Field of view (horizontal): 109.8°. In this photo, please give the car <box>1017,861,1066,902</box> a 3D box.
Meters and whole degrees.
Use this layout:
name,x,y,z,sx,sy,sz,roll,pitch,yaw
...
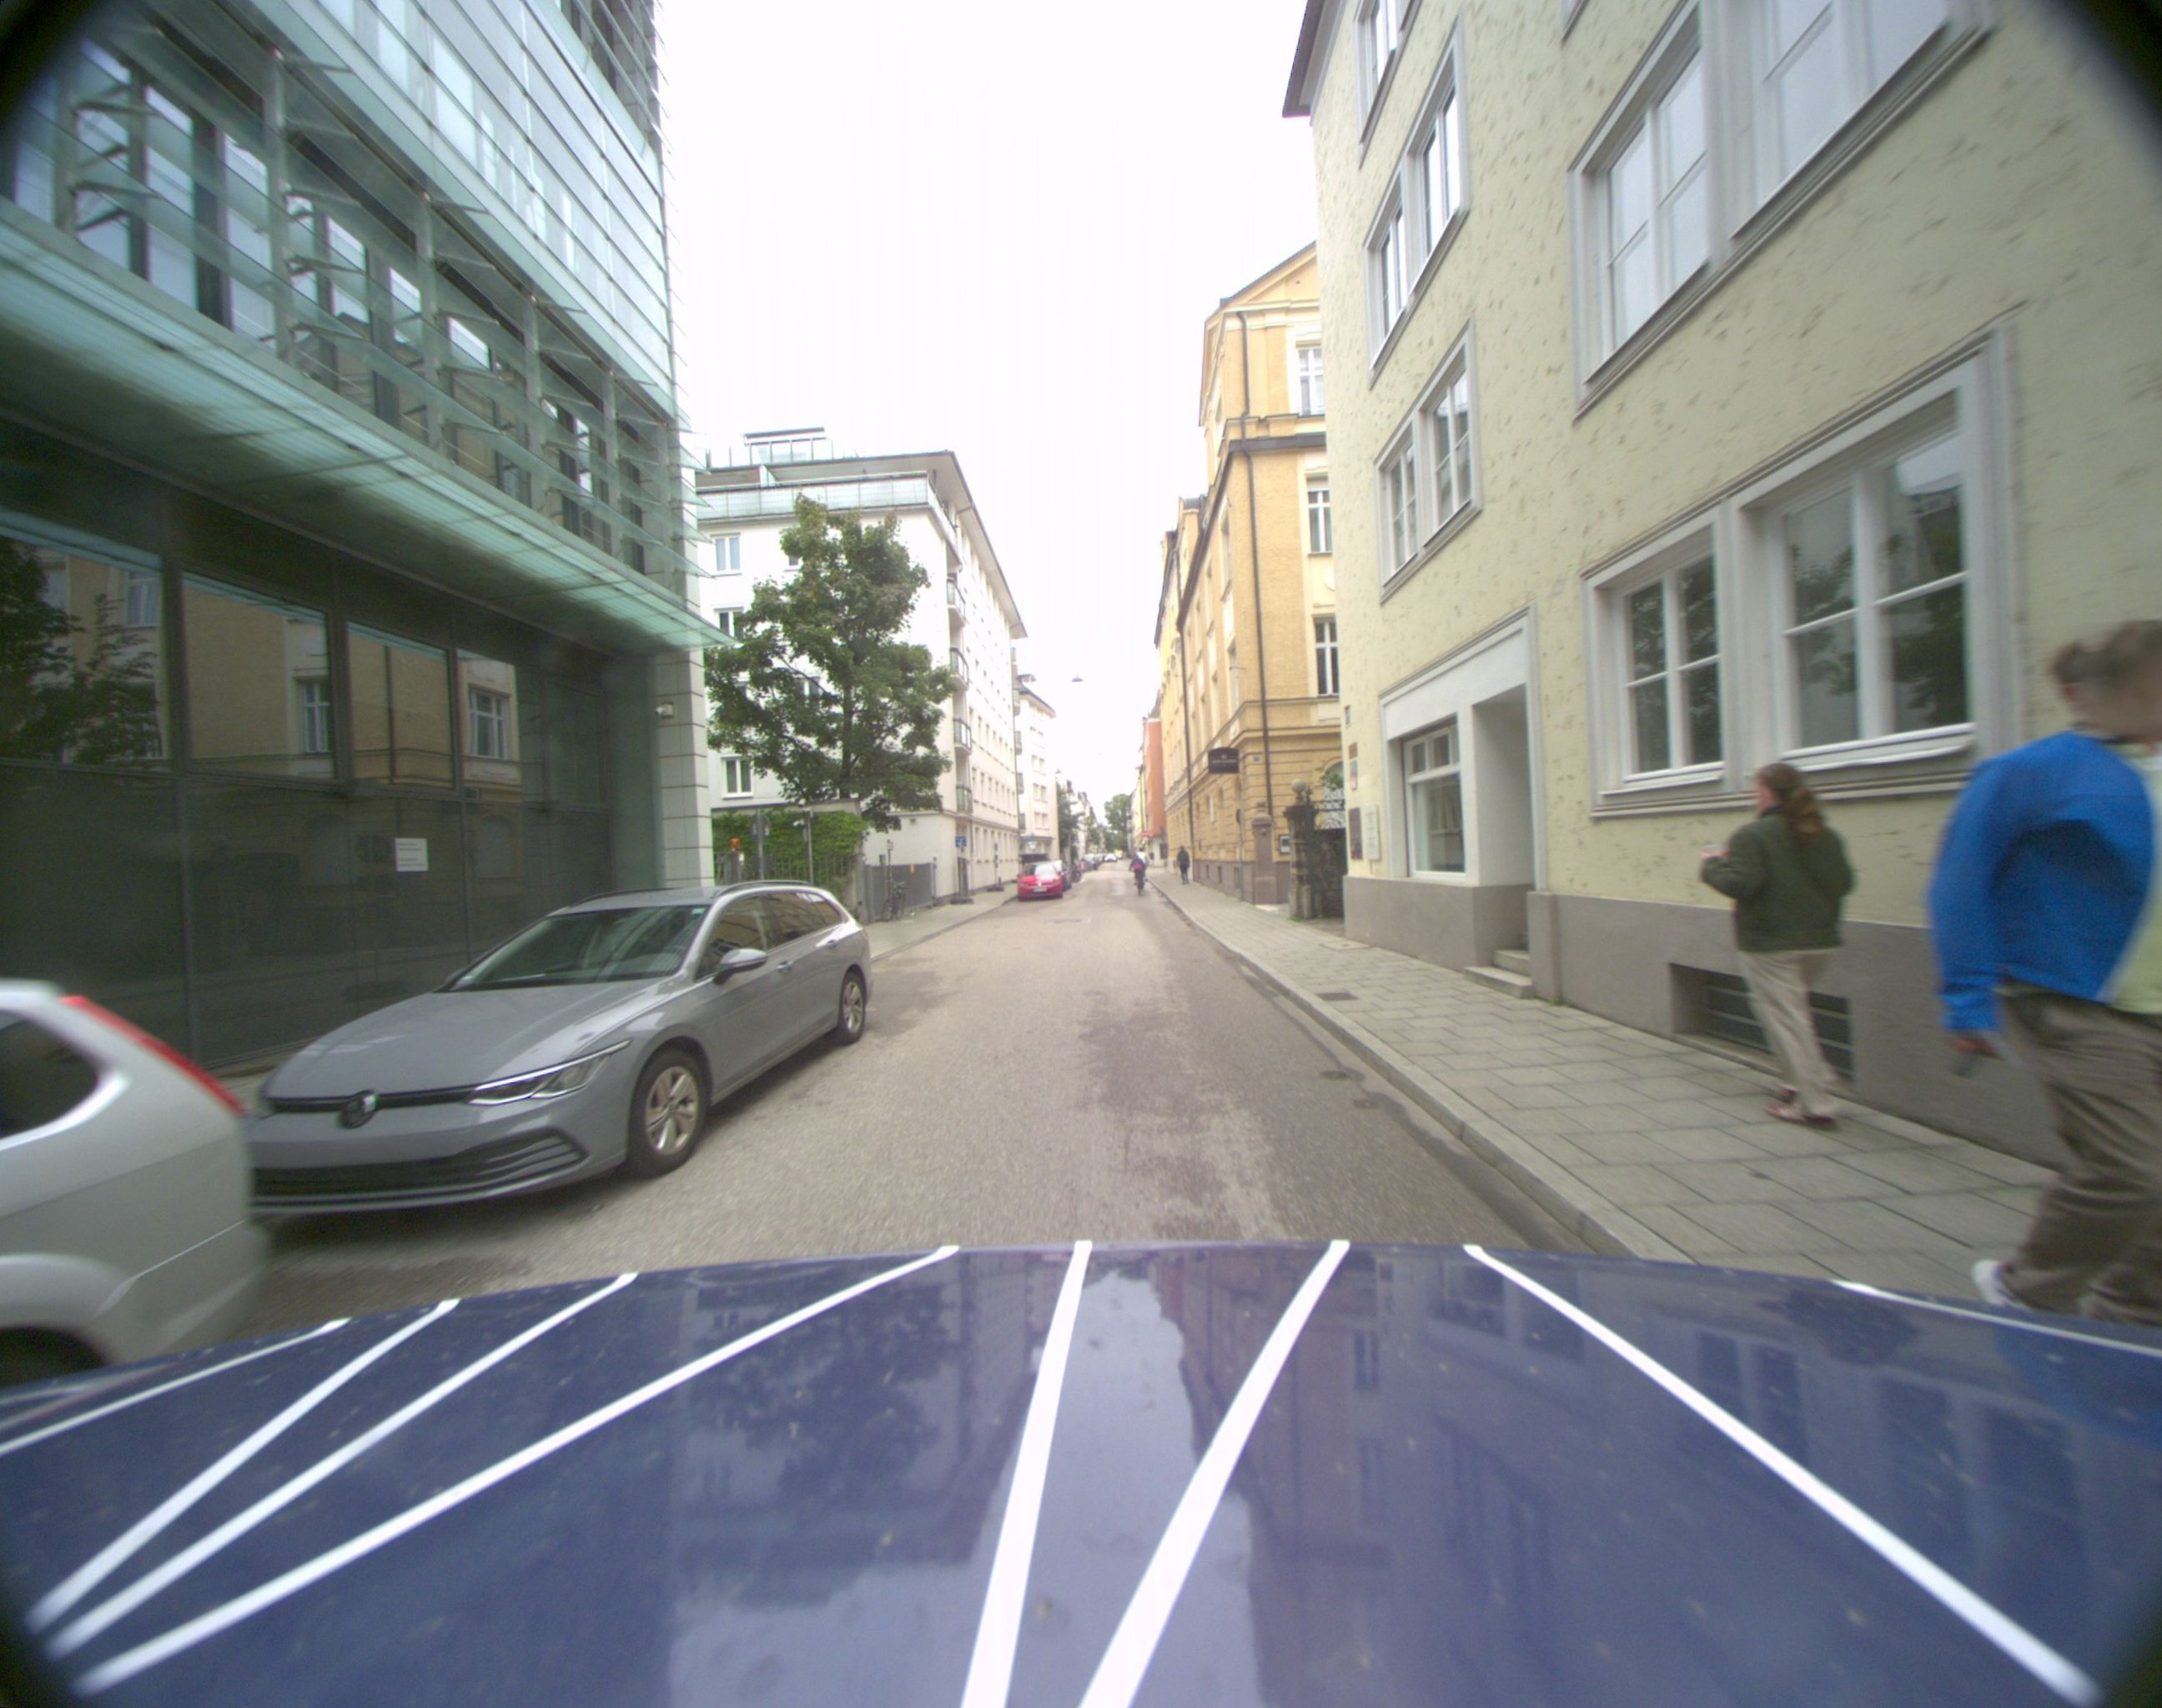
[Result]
name,x,y,z,sx,sy,sz,roll,pitch,yaw
car,-1.624,1.069,31.454,1.766,1.438,4.297,-4,0,-3

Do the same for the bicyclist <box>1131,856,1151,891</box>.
name,x,y,z,sx,sy,sz,roll,pitch,yaw
bicyclist,2.355,0.764,30.007,0.709,1.363,0.813,-2,1,2

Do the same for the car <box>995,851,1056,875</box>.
name,x,y,z,sx,sy,sz,roll,pitch,yaw
car,-4.653,0.749,64.209,4.675,1.880,1.935,-2,0,11

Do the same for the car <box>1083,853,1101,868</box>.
name,x,y,z,sx,sy,sz,roll,pitch,yaw
car,1.153,0.678,77.734,1.653,1.390,4.001,-2,0,3

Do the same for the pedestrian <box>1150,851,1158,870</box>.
name,x,y,z,sx,sy,sz,roll,pitch,yaw
pedestrian,6.689,0.560,69.259,0.613,1.684,0.566,-2,1,2

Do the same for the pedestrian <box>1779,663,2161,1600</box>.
name,x,y,z,sx,sy,sz,roll,pitch,yaw
pedestrian,2.467,0.534,1.686,0.758,1.844,1.077,-4,1,3

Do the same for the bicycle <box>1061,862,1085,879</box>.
name,x,y,z,sx,sy,sz,roll,pitch,yaw
bicycle,-0.518,1.054,48.177,1.441,1.037,0.360,0,1,11

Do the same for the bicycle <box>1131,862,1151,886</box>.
name,x,y,z,sx,sy,sz,roll,pitch,yaw
bicycle,2.365,0.781,30.092,0.709,0.900,1.809,-2,0,2

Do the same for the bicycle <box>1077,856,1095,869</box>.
name,x,y,z,sx,sy,sz,roll,pitch,yaw
bicycle,0.436,0.822,71.937,1.607,1.207,0.529,-2,1,5

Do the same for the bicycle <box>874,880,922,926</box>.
name,x,y,z,sx,sy,sz,roll,pitch,yaw
bicycle,-4.945,1.315,20.672,0.709,1.191,1.835,-3,-3,4

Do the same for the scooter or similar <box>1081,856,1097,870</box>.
name,x,y,z,sx,sy,sz,roll,pitch,yaw
scooter or similar,0.724,0.829,69.922,1.340,1.207,0.344,-2,1,5

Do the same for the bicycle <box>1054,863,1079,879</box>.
name,x,y,z,sx,sy,sz,roll,pitch,yaw
bicycle,-0.944,1.065,47.860,1.520,1.037,0.360,0,1,11

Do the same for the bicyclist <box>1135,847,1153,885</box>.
name,x,y,z,sx,sy,sz,roll,pitch,yaw
bicyclist,2.741,0.506,33.199,0.661,1.633,0.895,-2,1,2

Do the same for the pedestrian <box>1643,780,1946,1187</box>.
name,x,y,z,sx,sy,sz,roll,pitch,yaw
pedestrian,3.243,0.545,3.530,0.648,1.667,0.724,-4,1,2

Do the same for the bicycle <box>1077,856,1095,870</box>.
name,x,y,z,sx,sy,sz,roll,pitch,yaw
bicycle,0.432,0.827,71.339,1.607,1.207,0.529,-2,1,5

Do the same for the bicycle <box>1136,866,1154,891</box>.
name,x,y,z,sx,sy,sz,roll,pitch,yaw
bicycle,2.788,1.057,33.232,0.663,1.033,2.005,-2,0,2

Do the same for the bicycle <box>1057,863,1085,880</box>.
name,x,y,z,sx,sy,sz,roll,pitch,yaw
bicycle,-0.623,1.068,46.463,1.706,1.037,0.360,-1,1,3

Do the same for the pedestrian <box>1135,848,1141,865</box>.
name,x,y,z,sx,sy,sz,roll,pitch,yaw
pedestrian,6.965,0.321,93.282,0.635,2.002,0.788,-1,0,3

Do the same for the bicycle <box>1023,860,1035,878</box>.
name,x,y,z,sx,sy,sz,roll,pitch,yaw
bicycle,-3.615,1.036,52.708,0.399,1.198,1.503,-1,1,-22

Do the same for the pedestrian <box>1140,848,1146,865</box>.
name,x,y,z,sx,sy,sz,roll,pitch,yaw
pedestrian,7.593,0.298,93.205,0.635,2.002,0.788,-1,0,3

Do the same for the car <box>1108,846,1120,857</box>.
name,x,y,z,sx,sy,sz,roll,pitch,yaw
car,5.663,-0.426,129.428,1.929,1.794,4.444,-3,0,2

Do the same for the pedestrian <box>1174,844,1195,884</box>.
name,x,y,z,sx,sy,sz,roll,pitch,yaw
pedestrian,4.585,0.439,33.729,0.714,1.656,0.930,-6,0,3

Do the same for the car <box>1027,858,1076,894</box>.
name,x,y,z,sx,sy,sz,roll,pitch,yaw
car,-1.360,1.021,36.724,1.798,1.430,4.384,-4,0,4

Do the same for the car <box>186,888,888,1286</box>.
name,x,y,z,sx,sy,sz,roll,pitch,yaw
car,-2.893,1.107,5.427,1.712,1.424,4.329,-3,0,2

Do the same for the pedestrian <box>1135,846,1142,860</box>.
name,x,y,z,sx,sy,sz,roll,pitch,yaw
pedestrian,7.065,-0.120,93.112,0.726,1.783,0.830,-2,1,3

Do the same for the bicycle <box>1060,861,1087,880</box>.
name,x,y,z,sx,sy,sz,roll,pitch,yaw
bicycle,-0.486,1.058,49.848,1.699,1.154,0.378,-3,1,2

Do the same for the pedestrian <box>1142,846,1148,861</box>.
name,x,y,z,sx,sy,sz,roll,pitch,yaw
pedestrian,7.872,-0.103,93.147,0.699,1.783,0.763,-2,1,4
